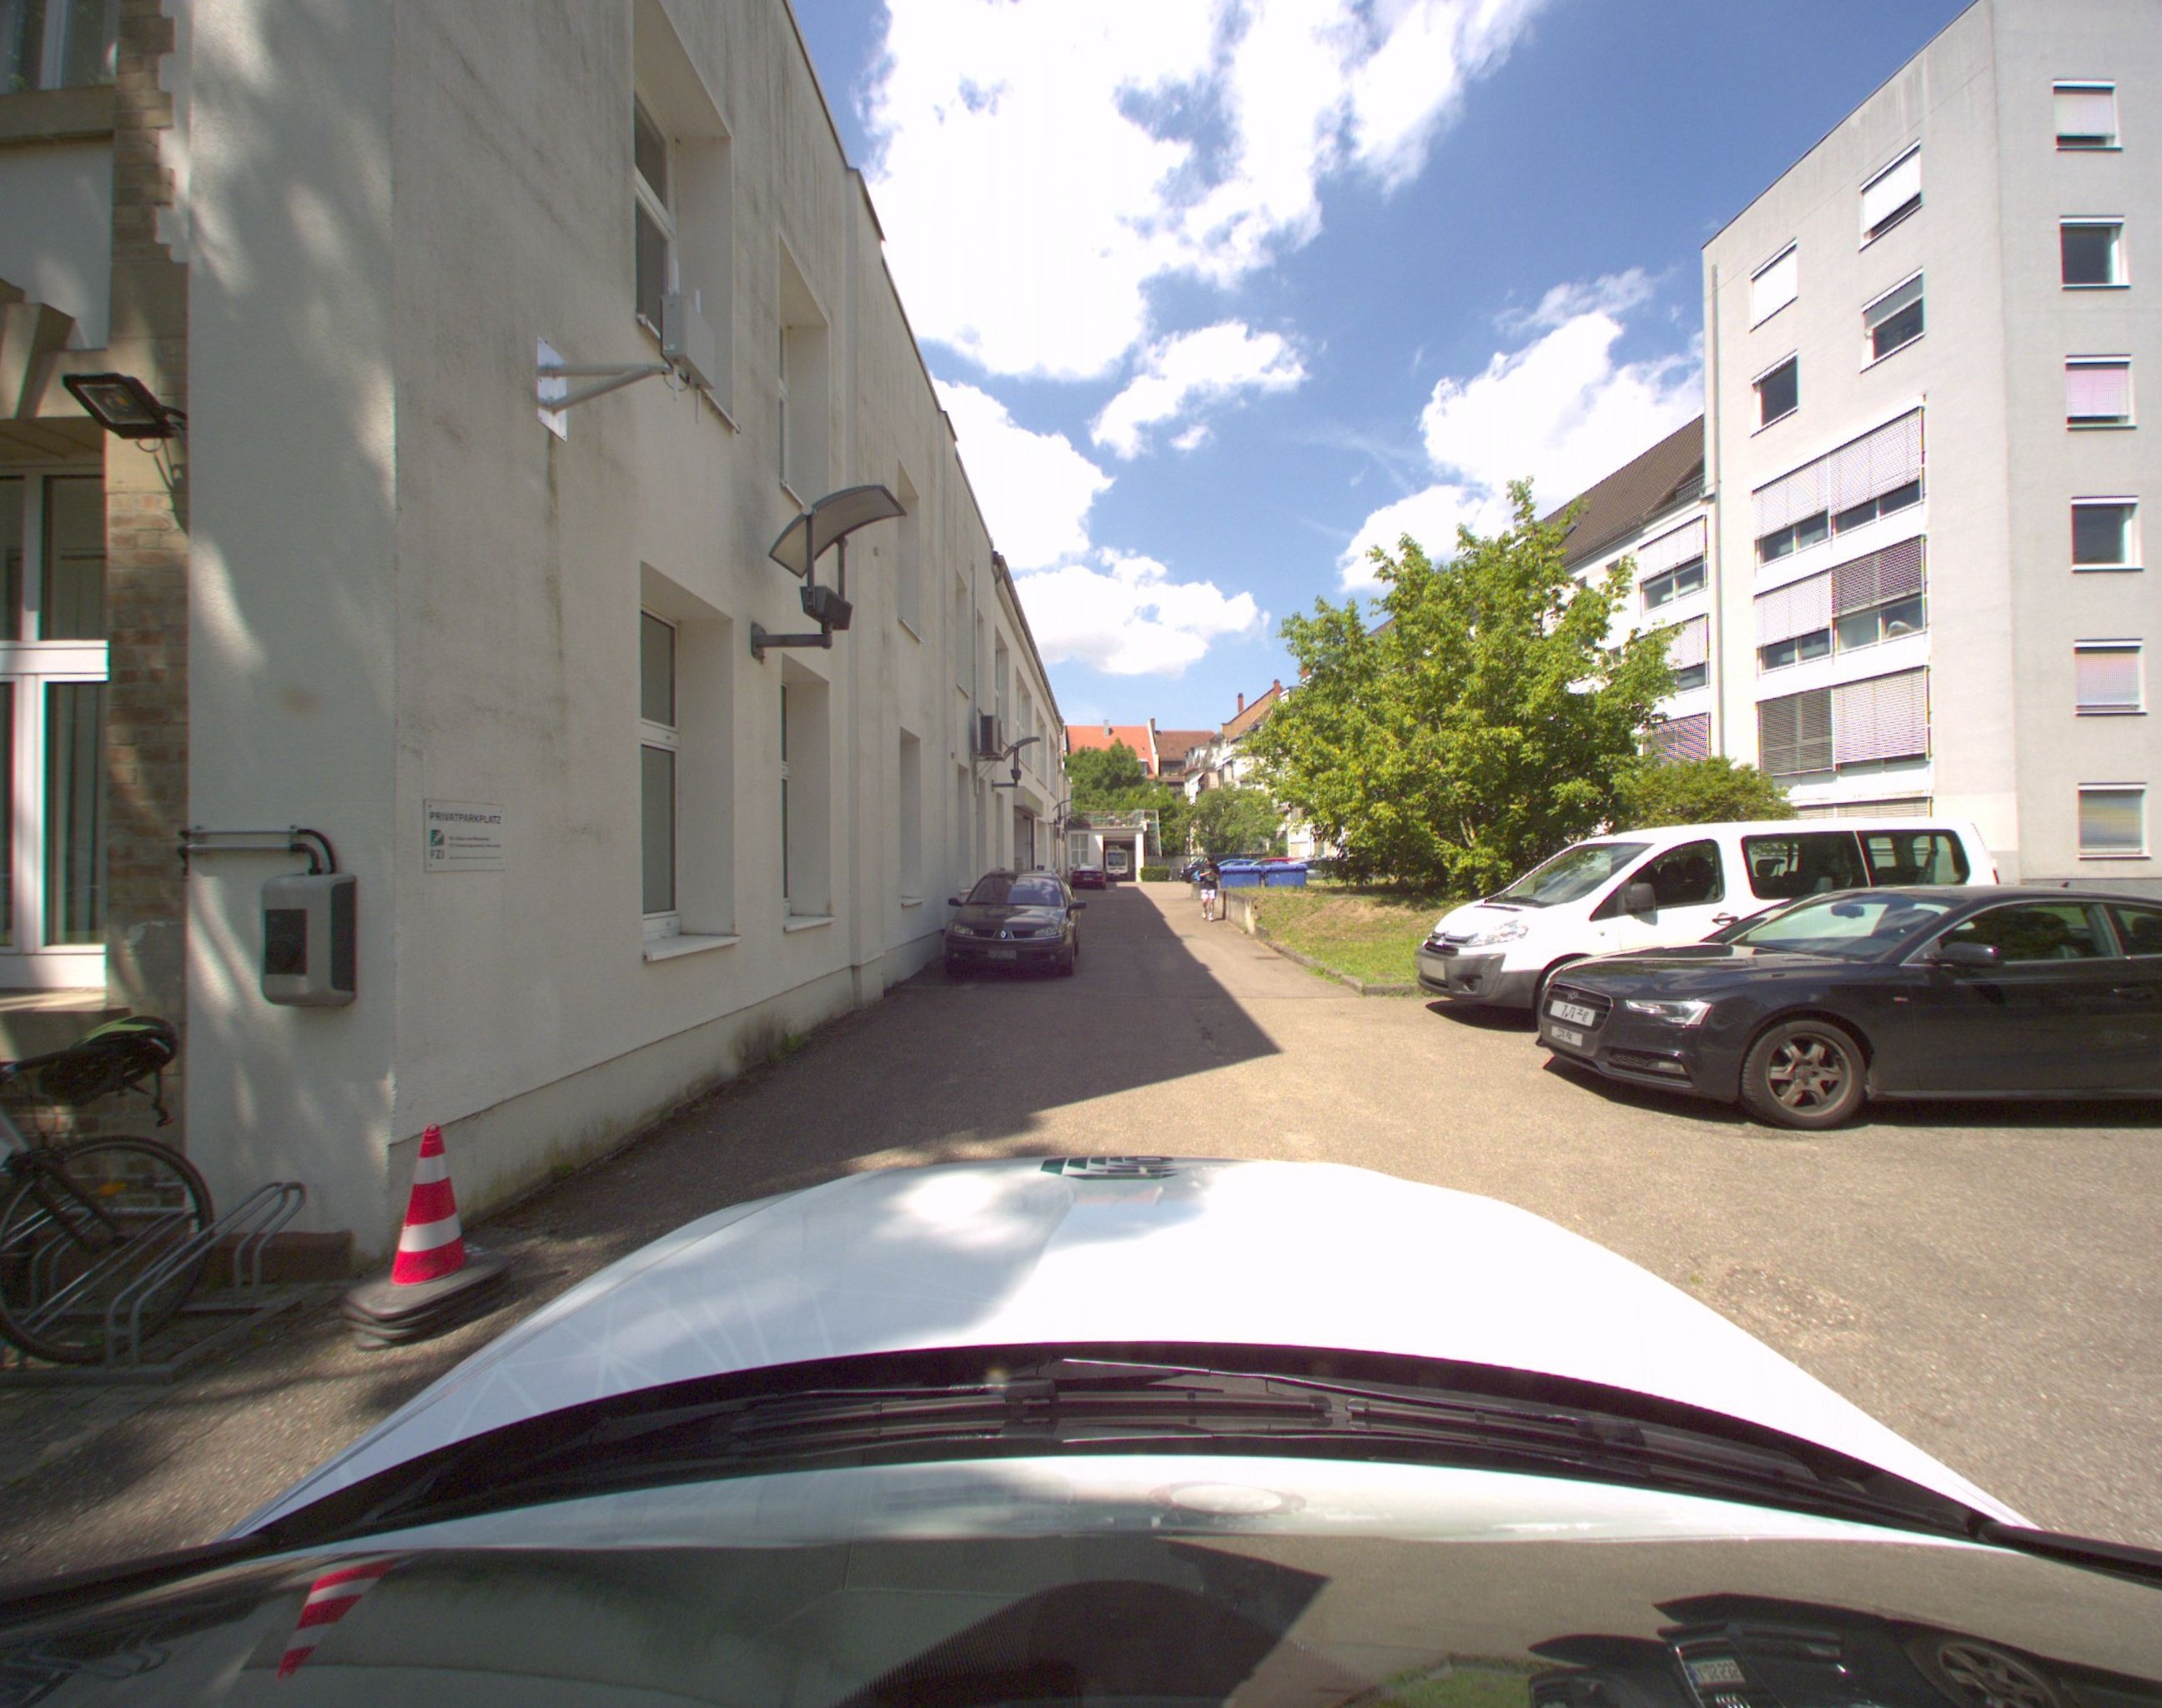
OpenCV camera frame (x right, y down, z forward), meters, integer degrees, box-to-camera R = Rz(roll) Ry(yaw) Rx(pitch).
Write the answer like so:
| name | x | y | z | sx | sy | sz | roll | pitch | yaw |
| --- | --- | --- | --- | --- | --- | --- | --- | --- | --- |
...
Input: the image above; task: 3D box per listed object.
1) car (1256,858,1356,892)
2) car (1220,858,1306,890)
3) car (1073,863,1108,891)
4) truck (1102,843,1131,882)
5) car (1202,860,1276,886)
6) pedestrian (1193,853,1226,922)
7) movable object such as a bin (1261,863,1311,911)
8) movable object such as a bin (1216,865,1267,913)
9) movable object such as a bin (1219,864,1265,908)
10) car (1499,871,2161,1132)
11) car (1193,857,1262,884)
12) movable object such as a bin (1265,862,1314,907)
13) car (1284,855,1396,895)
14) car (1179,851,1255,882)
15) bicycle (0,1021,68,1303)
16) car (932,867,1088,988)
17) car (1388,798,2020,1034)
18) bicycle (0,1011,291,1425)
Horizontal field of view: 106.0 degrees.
| name | x | y | z | sx | sy | sz | roll | pitch | yaw |
| --- | --- | --- | --- | --- | --- | --- | --- | --- | --- |
| car | 10.001 | 0.939 | 36.462 | 3.974 | 1.390 | 1.804 | -1 | 0 | 0 |
| car | 9.177 | 1.004 | 41.276 | 3.974 | 1.478 | 1.804 | -1 | 0 | 0 |
| car | 0.520 | 1.213 | 44.180 | 1.792 | 1.390 | 4.001 | -1 | 0 | 1 |
| truck | 2.696 | 0.641 | 63.128 | 1.784 | 2.937 | 4.647 | -1 | -1 | -3 |
| car | 9.249 | 1.097 | 47.918 | 3.974 | 1.390 | 1.804 | -1 | 0 | 0 |
| pedestrian | 3.304 | 0.845 | 20.955 | 0.754 | 1.755 | 0.752 | -1 | 0 | 3 |
| movable object such as a bin | 5.964 | 0.957 | 23.801 | 1.210 | 1.327 | 1.162 | -1 | 0 | 4 |
| movable object such as a bin | 4.672 | 0.995 | 23.812 | 1.333 | 1.327 | 1.162 | -1 | 0 | 4 |
| movable object such as a bin | 5.023 | 0.984 | 25.550 | 1.189 | 1.327 | 1.160 | -1 | 0 | 0 |
| car | 5.548 | 0.844 | 5.423 | 4.594 | 1.352 | 1.834 | -1 | 0 | 2 |
| car | 9.098 | 1.026 | 50.905 | 3.974 | 1.534 | 1.804 | -1 | 0 | 0 |
| movable object such as a bin | 6.495 | 0.941 | 25.475 | 1.212 | 1.327 | 1.160 | -1 | 0 | 0 |
| car | 10.407 | 0.812 | 32.936 | 3.974 | 1.478 | 1.804 | -1 | 0 | 0 |
| car | 8.954 | 0.820 | 53.954 | 4.662 | 1.958 | 2.076 | -1 | 0 | 0 |
| bicycle | -4.198 | 1.117 | 1.952 | 0.602 | 0.958 | 2.262 | -1 | 0 | 4 |
| car | -0.875 | 0.959 | 12.440 | 1.747 | 1.430 | 4.390 | -1 | 0 | 3 |
| car | 5.818 | 0.562 | 8.148 | 4.741 | 2.014 | 2.001 | -1 | -1 | 1 |
| bicycle | -3.210 | 1.053 | 2.079 | 0.609 | 0.958 | 1.732 | -1 | 0 | 4 |
